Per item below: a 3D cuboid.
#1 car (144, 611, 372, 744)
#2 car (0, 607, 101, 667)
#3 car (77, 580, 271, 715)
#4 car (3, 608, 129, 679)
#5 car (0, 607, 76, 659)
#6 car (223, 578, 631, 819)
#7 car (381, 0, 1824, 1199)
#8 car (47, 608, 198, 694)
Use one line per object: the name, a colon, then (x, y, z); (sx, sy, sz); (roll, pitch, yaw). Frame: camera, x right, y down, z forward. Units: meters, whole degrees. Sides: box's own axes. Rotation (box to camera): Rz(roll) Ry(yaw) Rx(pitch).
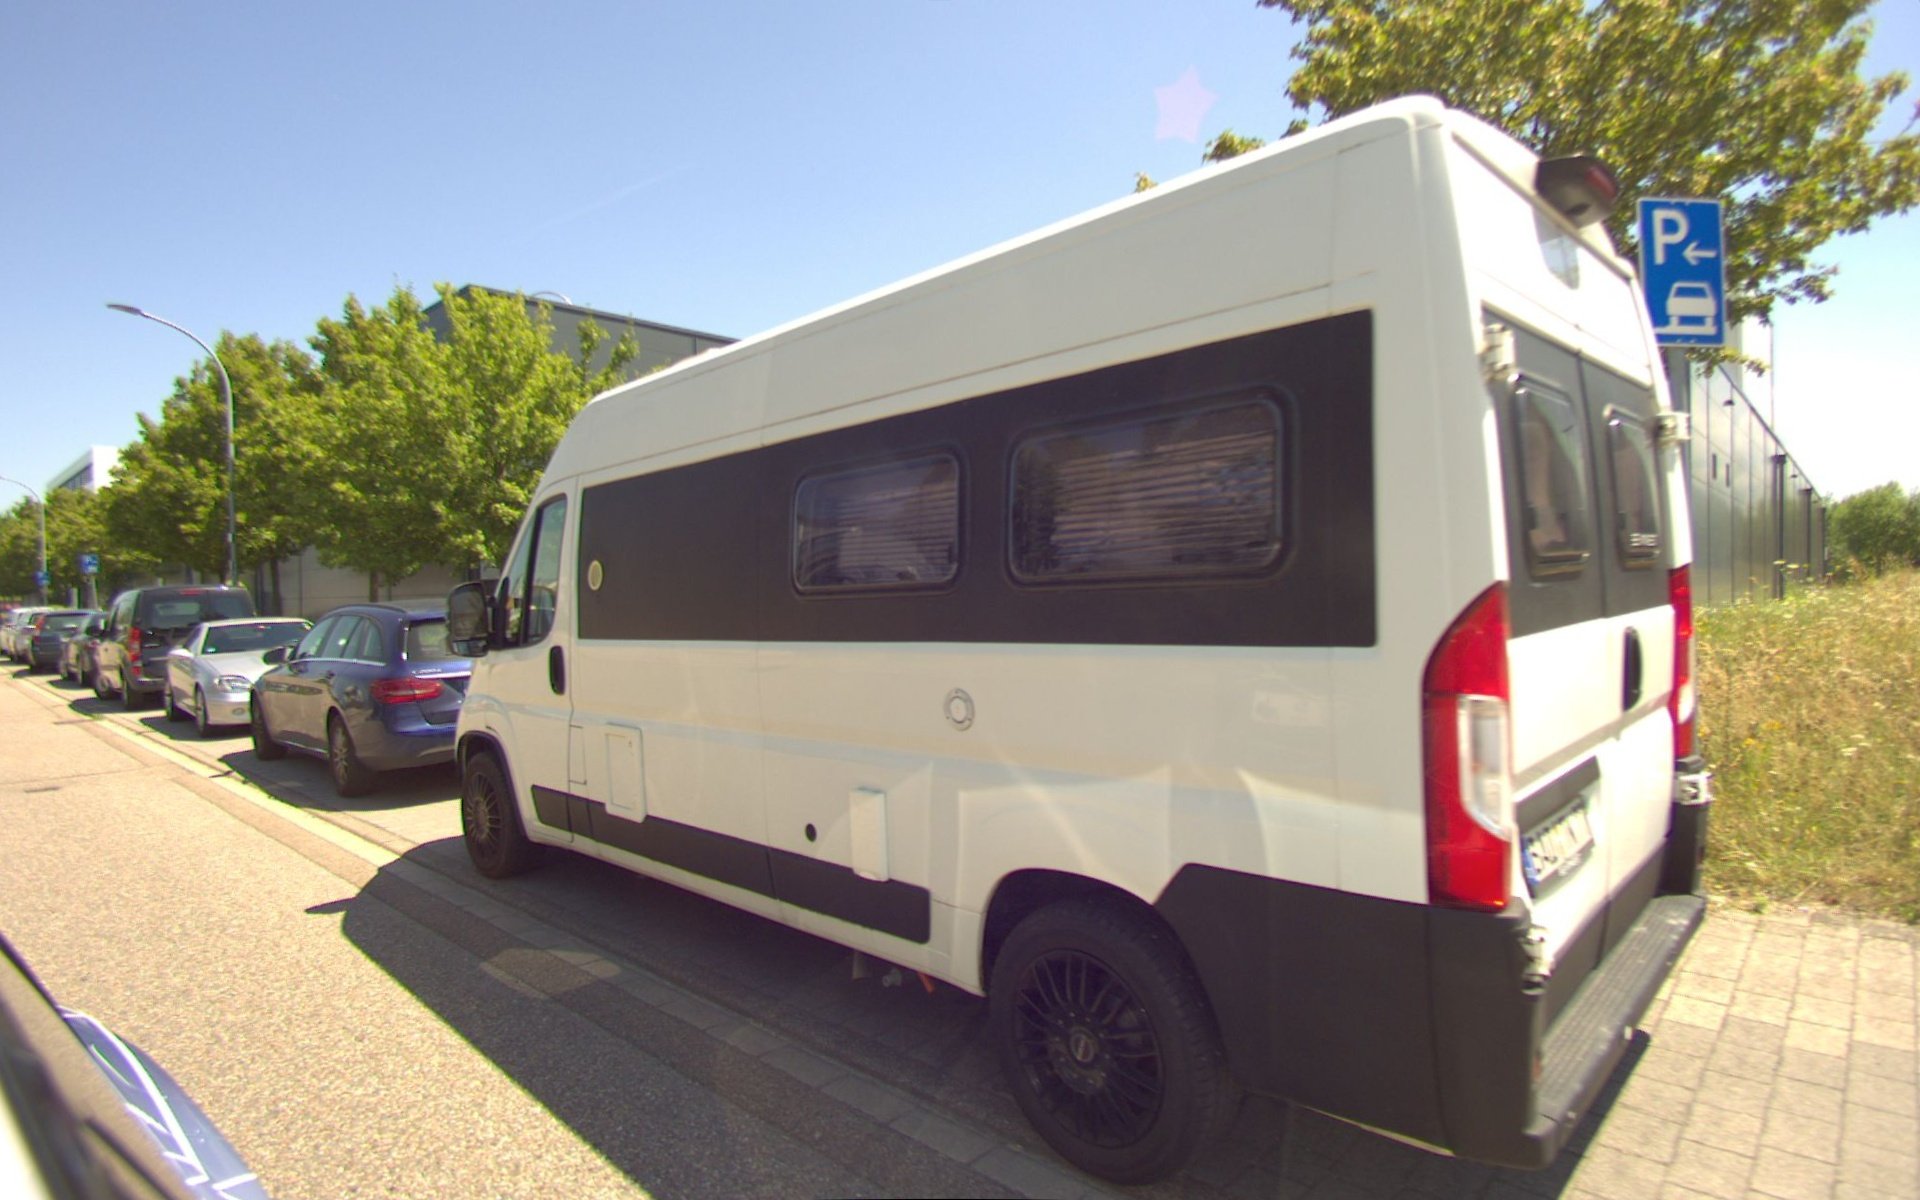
car: (-8.909, 0.846, 12.714); (4.002, 1.321, 1.625); (-1, 2, 45)
car: (-25.871, 0.998, 28.671); (4.189, 1.497, 1.775); (-1, 2, 42)
car: (-12.578, 0.667, 16.100); (4.083, 1.824, 1.811); (-1, 2, 44)
car: (-21.742, 0.990, 24.559); (4.451, 1.497, 1.775); (-1, 2, 42)
car: (-30.227, 1.023, 32.864); (3.968, 1.497, 1.775); (-1, 2, 42)
car: (-4.940, 0.666, 9.022); (4.626, 1.552, 1.811); (-1, 2, 44)
car: (-0.262, 0.046, 4.481); (6.087, 2.618, 2.297); (-1, 2, 44)
car: (-17.150, 0.955, 20.641); (4.452, 1.475, 1.775); (-1, 2, 43)
